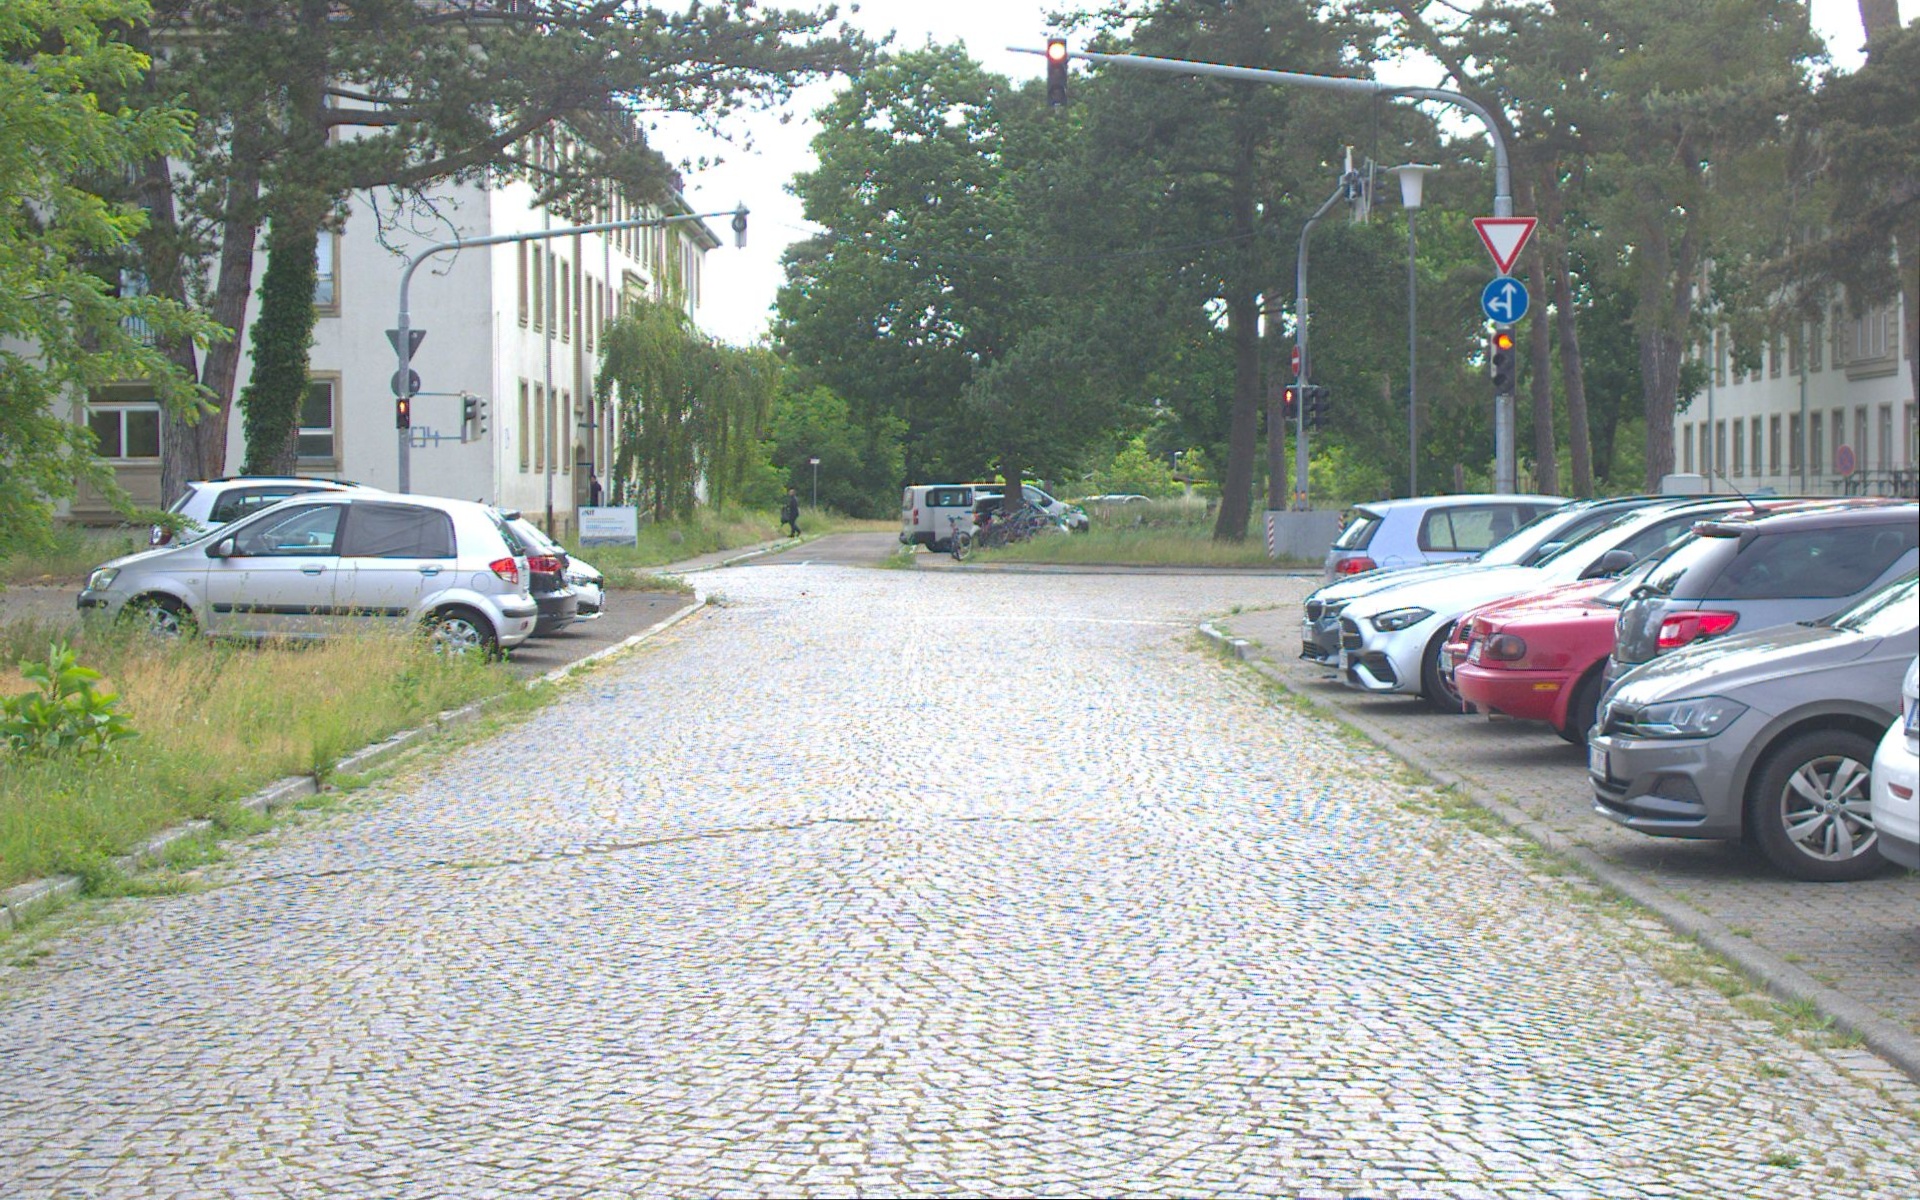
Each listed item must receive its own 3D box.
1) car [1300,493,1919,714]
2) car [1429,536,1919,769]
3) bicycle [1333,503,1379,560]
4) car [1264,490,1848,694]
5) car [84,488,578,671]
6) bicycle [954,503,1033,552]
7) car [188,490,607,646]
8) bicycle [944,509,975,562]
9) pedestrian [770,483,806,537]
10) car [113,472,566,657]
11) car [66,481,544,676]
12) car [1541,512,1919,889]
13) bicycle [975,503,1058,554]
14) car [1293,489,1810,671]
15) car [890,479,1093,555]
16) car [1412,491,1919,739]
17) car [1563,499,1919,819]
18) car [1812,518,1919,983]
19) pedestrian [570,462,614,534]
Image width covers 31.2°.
[{"bbox_3d":[4.688,-0.008,24.575,4.184,1.432,1.756,-1,2,-7],"label":"car"},{"bbox_3d":[4.613,0.272,19.877,3.587,1.218,1.628,-1,2,1],"label":"car"},{"bbox_3d":[7.684,-1.340,66.714,0.663,1.047,1.888,1,2,0],"label":"bicycle"},{"bbox_3d":[4.699,-0.099,27.341,4.227,1.474,1.710,-1,2,-10],"label":"car"},{"bbox_3d":[-5.703,-0.216,31.607,4.297,1.548,1.812,-1,2,-6],"label":"car"},{"bbox_3d":[0.825,-1.804,85.508,1.881,1.167,0.665,1,1,-5],"label":"bicycle"},{"bbox_3d":[-5.964,-0.367,36.866,4.297,1.548,1.812,-1,2,-6],"label":"car"},{"bbox_3d":[-0.007,-1.458,77.386,0.663,1.167,1.888,1,1,0],"label":"bicycle"},{"bbox_3d":[-6.336,-3.306,126.457,1.239,1.952,1.121,1,1,-5],"label":"pedestrian"},{"bbox_3d":[-6.146,-0.376,34.411,4.297,1.726,1.653,-1,2,-5],"label":"car"},{"bbox_3d":[-5.463,-0.203,29.008,3.720,1.475,1.673,2,2,-3],"label":"car"},{"bbox_3d":[4.651,0.353,14.383,4.130,1.442,1.766,-1,2,1],"label":"car"},{"bbox_3d":[1.342,-1.698,82.010,1.881,1.167,0.665,1,1,-5],"label":"bicycle"},{"bbox_3d":[5.096,-0.197,29.891,4.134,1.458,1.634,-1,2,-5],"label":"car"},{"bbox_3d":[0.864,-2.338,96.806,5.374,2.094,2.179,-1,2,-12],"label":"car"},{"bbox_3d":[5.106,0.059,22.212,4.105,1.471,1.685,-1,2,-1],"label":"car"},{"bbox_3d":[4.945,0.241,17.247,3.505,1.482,1.743,-1,2,0],"label":"car"},{"bbox_3d":[4.898,0.447,11.478,3.653,1.473,1.766,-1,2,0],"label":"car"},{"bbox_3d":[-10.117,-2.807,94.545,1.074,1.952,1.121,1,1,0],"label":"pedestrian"}]
